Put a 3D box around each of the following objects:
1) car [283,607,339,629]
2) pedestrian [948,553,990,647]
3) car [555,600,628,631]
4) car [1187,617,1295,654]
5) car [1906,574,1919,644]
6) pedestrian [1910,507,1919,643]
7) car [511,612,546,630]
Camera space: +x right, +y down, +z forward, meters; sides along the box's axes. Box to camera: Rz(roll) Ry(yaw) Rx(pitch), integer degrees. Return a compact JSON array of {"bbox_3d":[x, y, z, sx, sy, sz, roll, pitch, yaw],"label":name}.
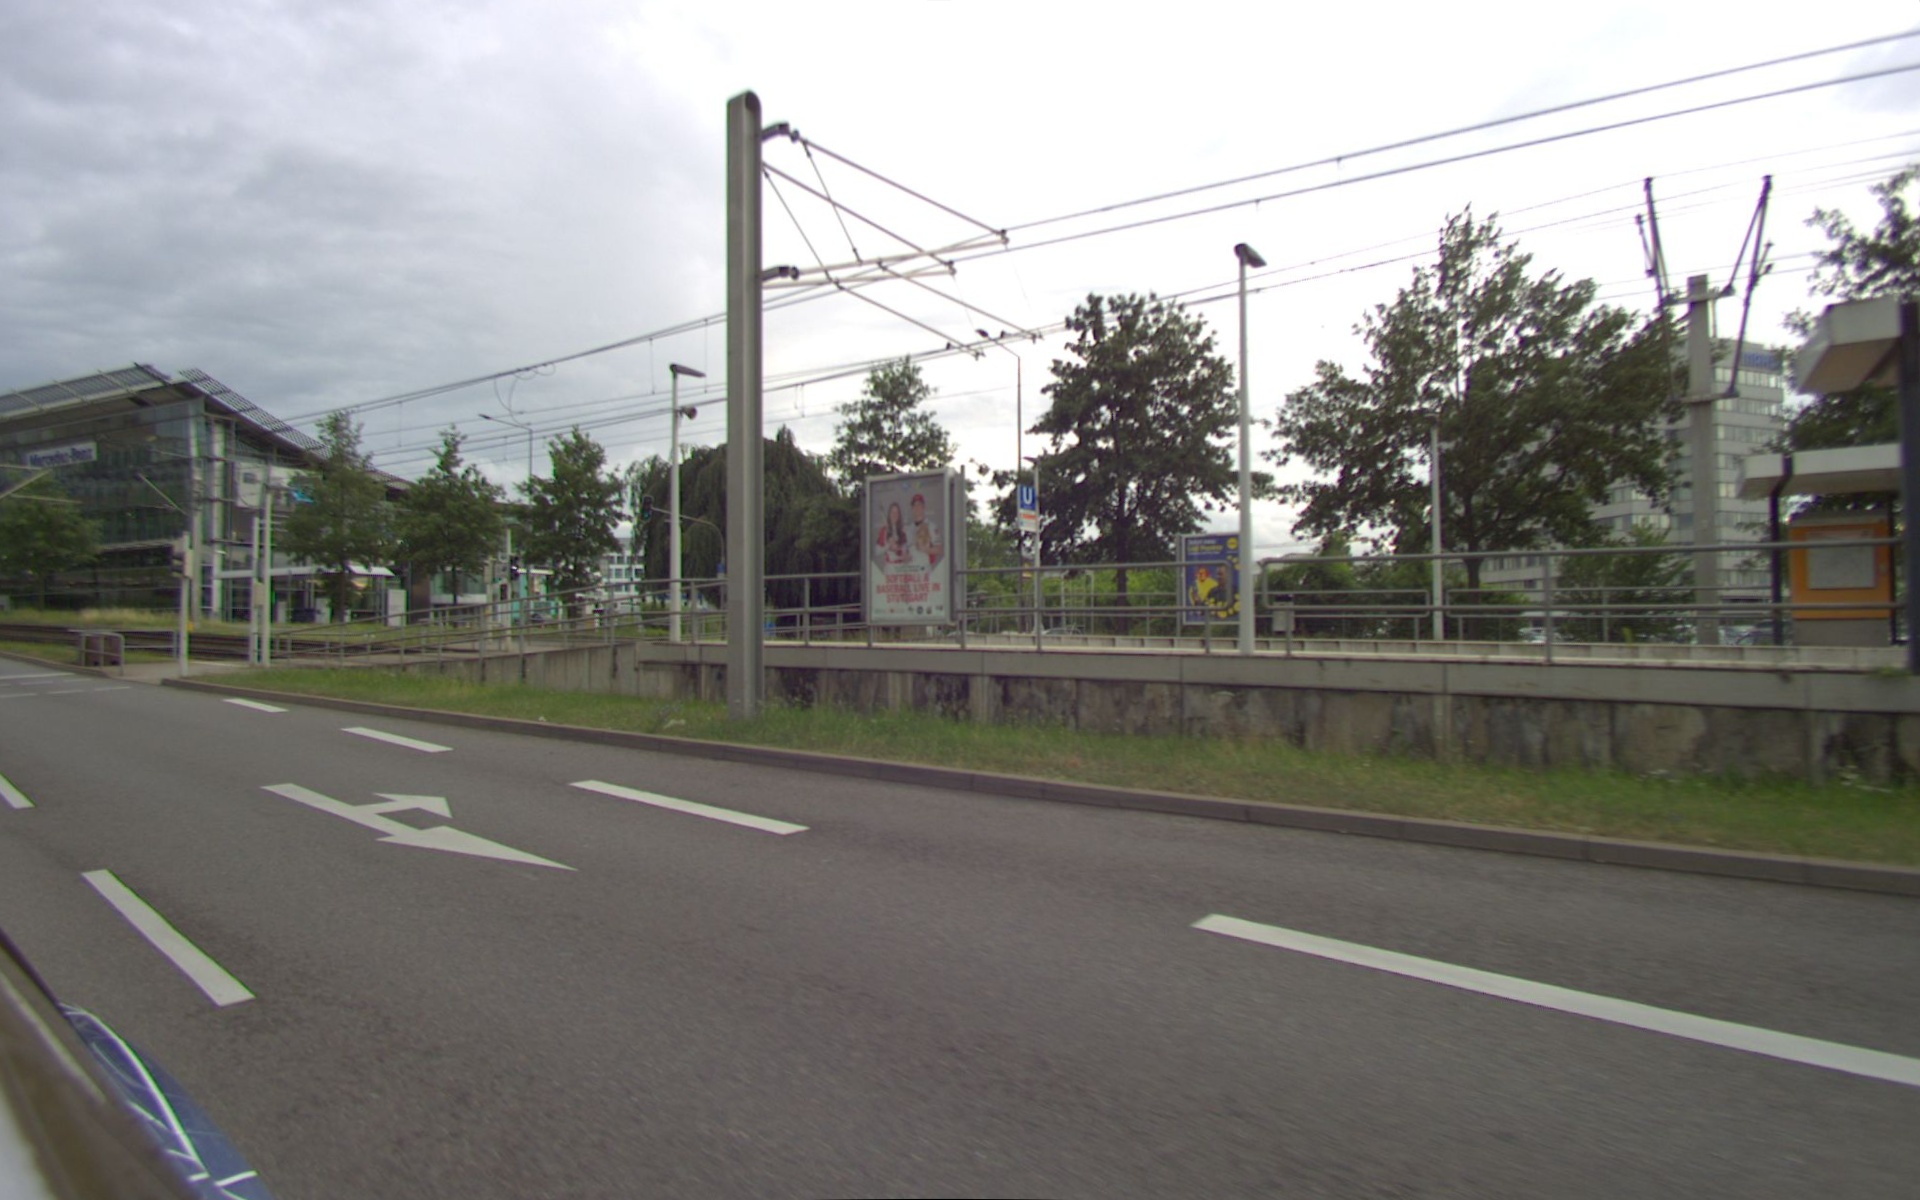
[{"bbox_3d":[-60.318,1.664,94.131,3.941,1.864,1.896,1,1,-3],"label":"car"},{"bbox_3d":[0.187,-0.008,21.553,0.662,1.967,0.544,2,1,32],"label":"pedestrian"},{"bbox_3d":[-22.215,0.898,61.002,3.983,1.663,1.981,2,1,29],"label":"car"},{"bbox_3d":[12.084,1.513,43.679,3.939,1.425,2.003,1,1,-5],"label":"car"},{"bbox_3d":[29.791,0.216,28.795,3.995,2.029,1.974,-1,-1,39],"label":"car"},{"bbox_3d":[13.554,-0.338,13.783,0.749,1.868,0.631,2,1,35],"label":"pedestrian"},{"bbox_3d":[-46.158,2.188,108.201,3.740,1.723,1.761,2,1,35],"label":"car"}]
